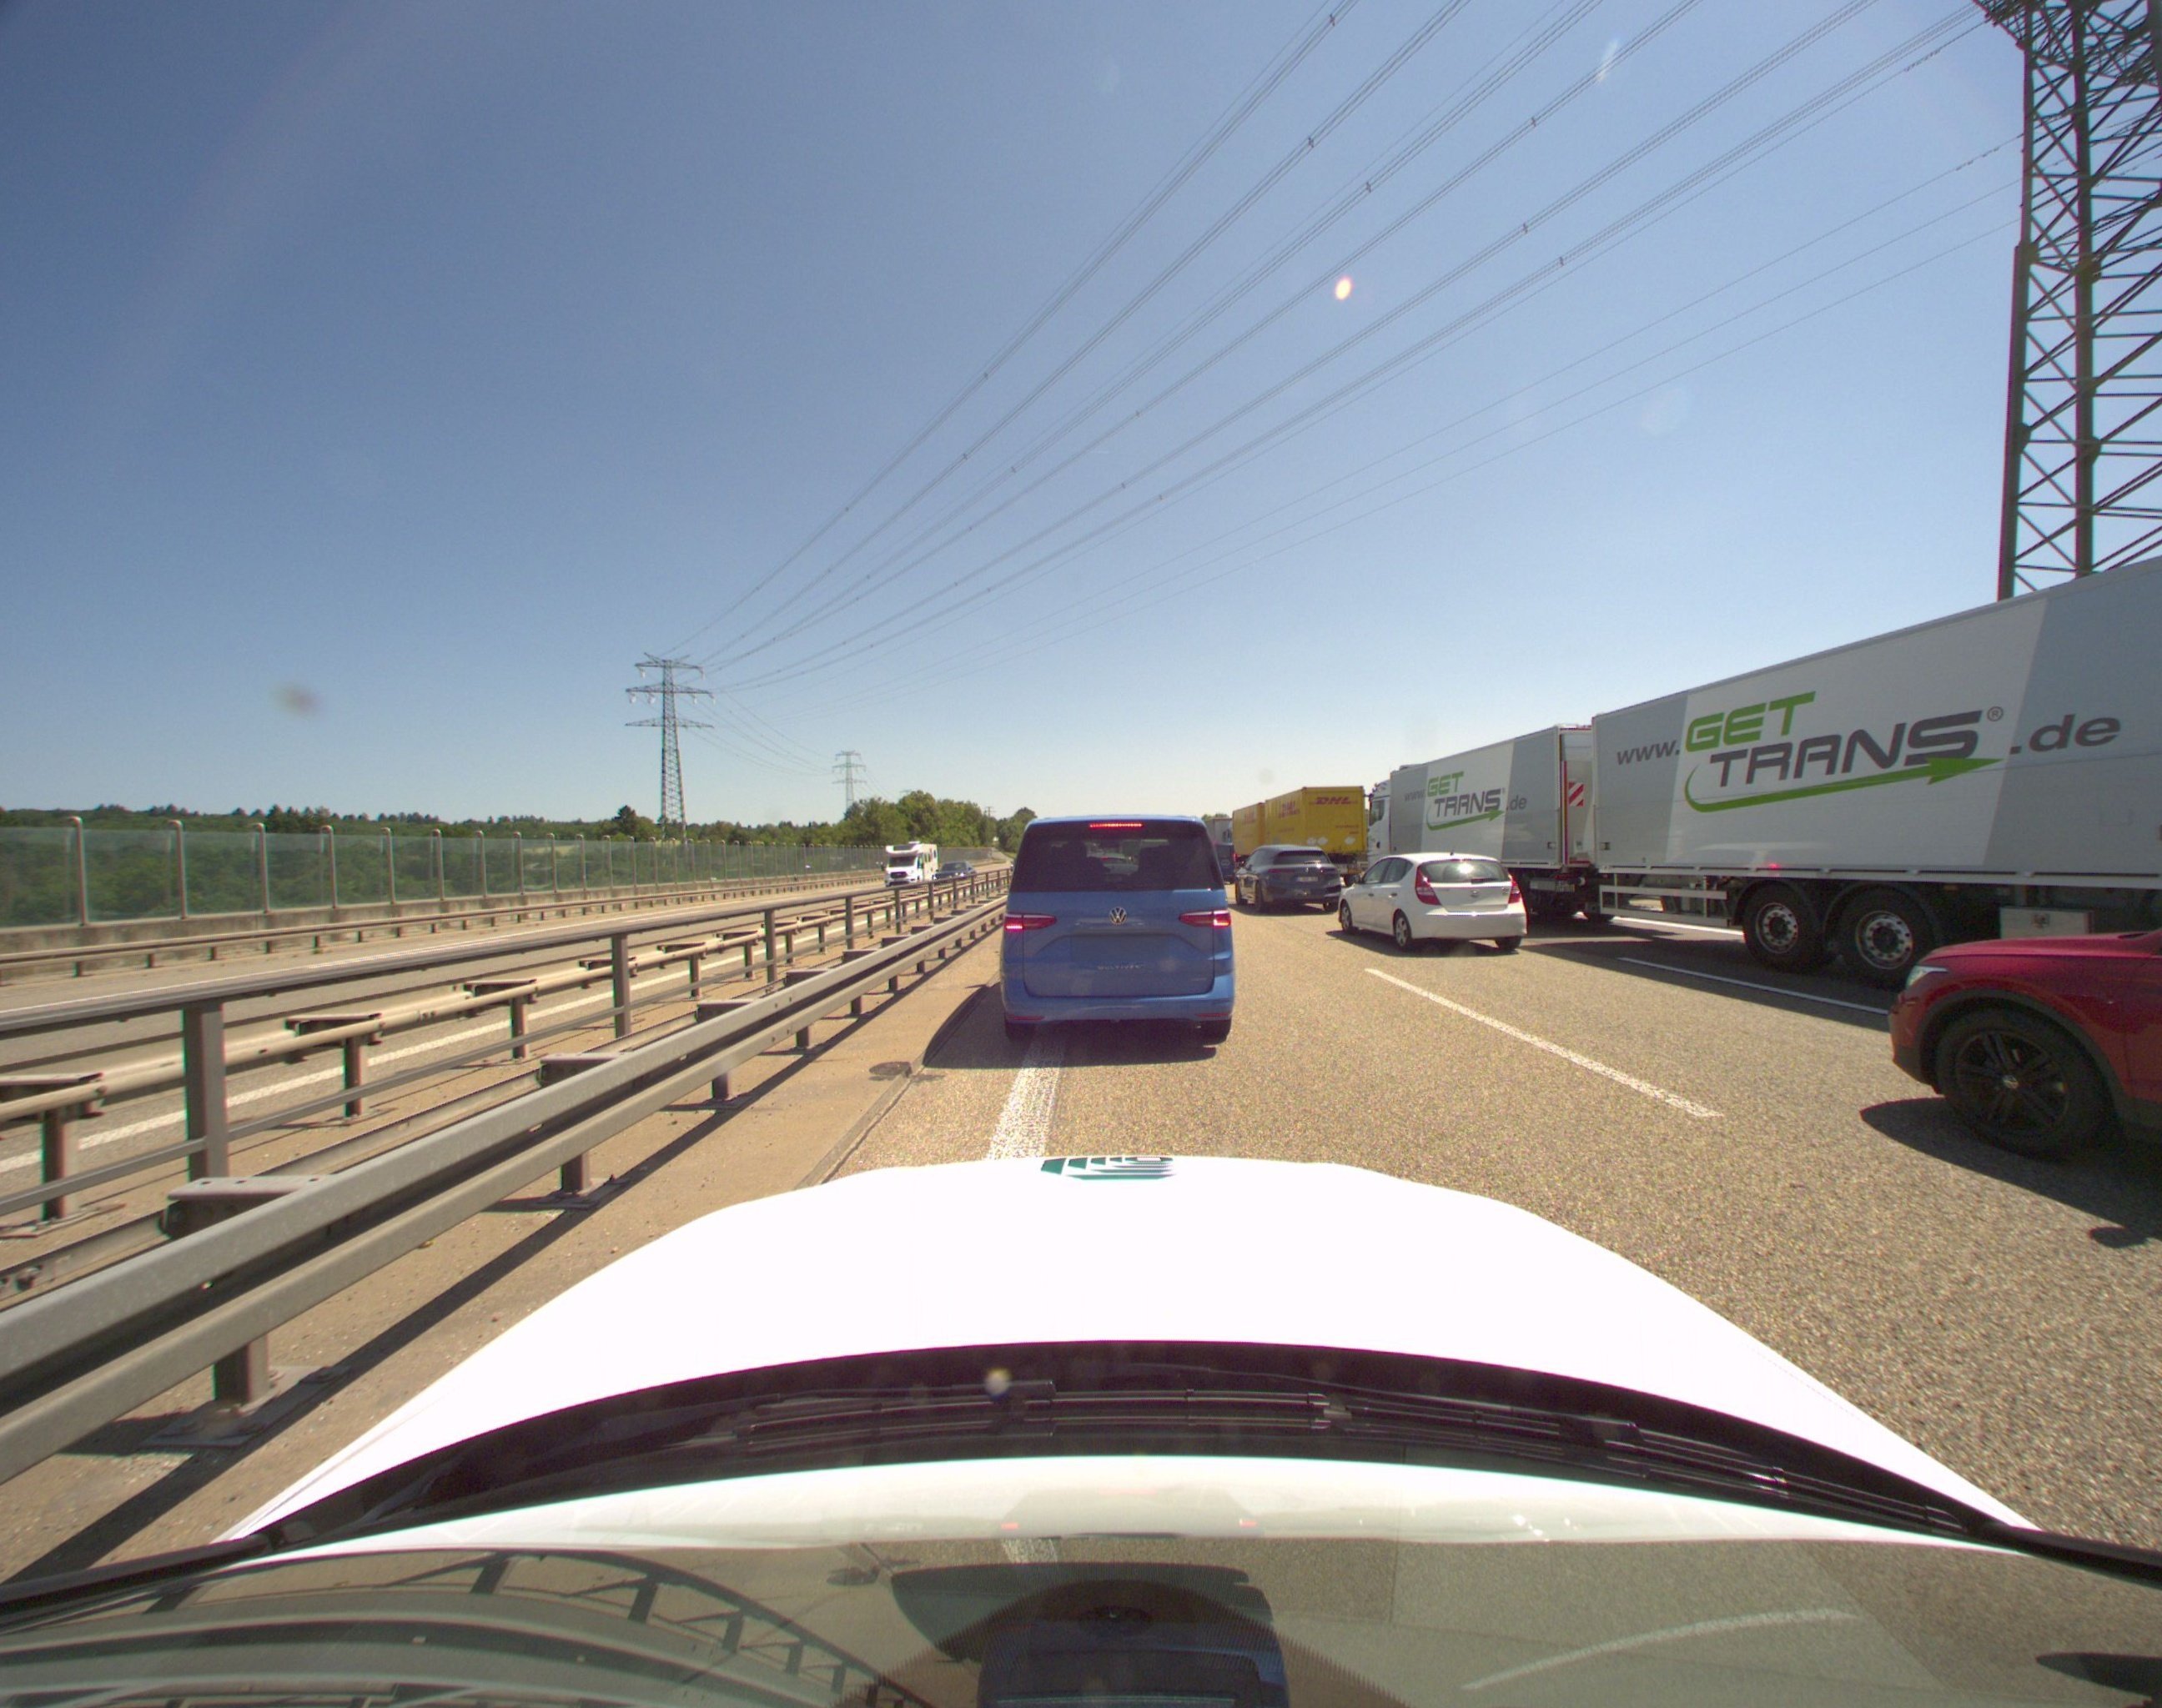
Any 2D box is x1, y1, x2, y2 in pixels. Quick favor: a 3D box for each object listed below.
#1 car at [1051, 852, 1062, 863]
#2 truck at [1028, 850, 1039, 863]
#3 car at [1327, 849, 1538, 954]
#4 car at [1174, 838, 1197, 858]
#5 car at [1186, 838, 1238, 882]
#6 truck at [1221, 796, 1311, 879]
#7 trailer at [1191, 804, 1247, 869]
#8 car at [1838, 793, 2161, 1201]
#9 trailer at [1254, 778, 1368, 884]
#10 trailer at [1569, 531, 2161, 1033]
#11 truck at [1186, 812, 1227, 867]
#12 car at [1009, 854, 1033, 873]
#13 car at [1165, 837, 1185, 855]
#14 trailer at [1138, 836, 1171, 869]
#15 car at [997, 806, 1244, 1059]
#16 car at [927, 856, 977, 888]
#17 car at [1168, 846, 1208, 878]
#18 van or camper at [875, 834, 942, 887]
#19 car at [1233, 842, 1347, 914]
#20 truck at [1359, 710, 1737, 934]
[{"bbox_3d":[-5.116,0.664,169.081,1.856,2.131,4.270,-4,0,2],"label":"car"},{"bbox_3d":[-12.900,0.753,221.442,2.488,3.365,5.836,-4,0,1],"label":"truck"},{"bbox_3d":[5.632,0.675,13.706,1.782,1.455,4.294,-1,0,1],"label":"car"},{"bbox_3d":[10.686,-0.593,83.354,1.986,2.014,4.001,-1,0,2],"label":"car"},{"bbox_3d":[6.376,0.291,40.068,1.955,1.993,4.294,-1,0,1],"label":"car"},{"bbox_3d":[10.388,-0.828,47.091,2.826,4.243,11.012,-1,0,1],"label":"truck"},{"bbox_3d":[10.477,-1.217,62.963,2.627,4.516,11.305,-1,0,2],"label":"trailer"},{"bbox_3d":[5.256,0.562,2.613,1.769,1.662,4.225,-1,0,1],"label":"car"},{"bbox_3d":[10.167,-0.888,37.082,2.854,4.239,9.014,-1,0,2],"label":"trailer"},{"bbox_3d":[9.404,-0.558,9.504,2.688,3.700,8.016,-2,0,1],"label":"trailer"},{"bbox_3d":[10.705,-1.184,70.089,2.657,4.484,6.852,-1,-1,2],"label":"truck"},{"bbox_3d":[-6.180,1.003,83.926,1.860,1.699,4.431,-5,0,1],"label":"car"},{"bbox_3d":[11.217,-0.970,97.332,1.986,2.013,4.463,-2,0,2],"label":"car"},{"bbox_3d":[7.095,-0.095,79.743,2.560,2.990,10.667,-1,0,2],"label":"trailer"},{"bbox_3d":[0.356,0.589,8.075,1.813,1.857,4.076,-1,0,2],"label":"car"},{"bbox_3d":[-7.148,0.991,45.635,1.860,1.531,4.426,-5,0,2],"label":"car"},{"bbox_3d":[6.522,0.458,50.013,1.986,1.816,4.002,-1,0,2],"label":"car"},{"bbox_3d":[-10.929,0.380,52.297,2.413,3.024,7.029,-4,0,2],"label":"van or camper"},{"bbox_3d":[5.336,0.560,21.349,1.955,1.644,4.294,-1,0,1],"label":"car"},{"bbox_3d":[9.631,-0.532,19.024,2.647,3.648,11.013,-2,0,1],"label":"truck"}]
